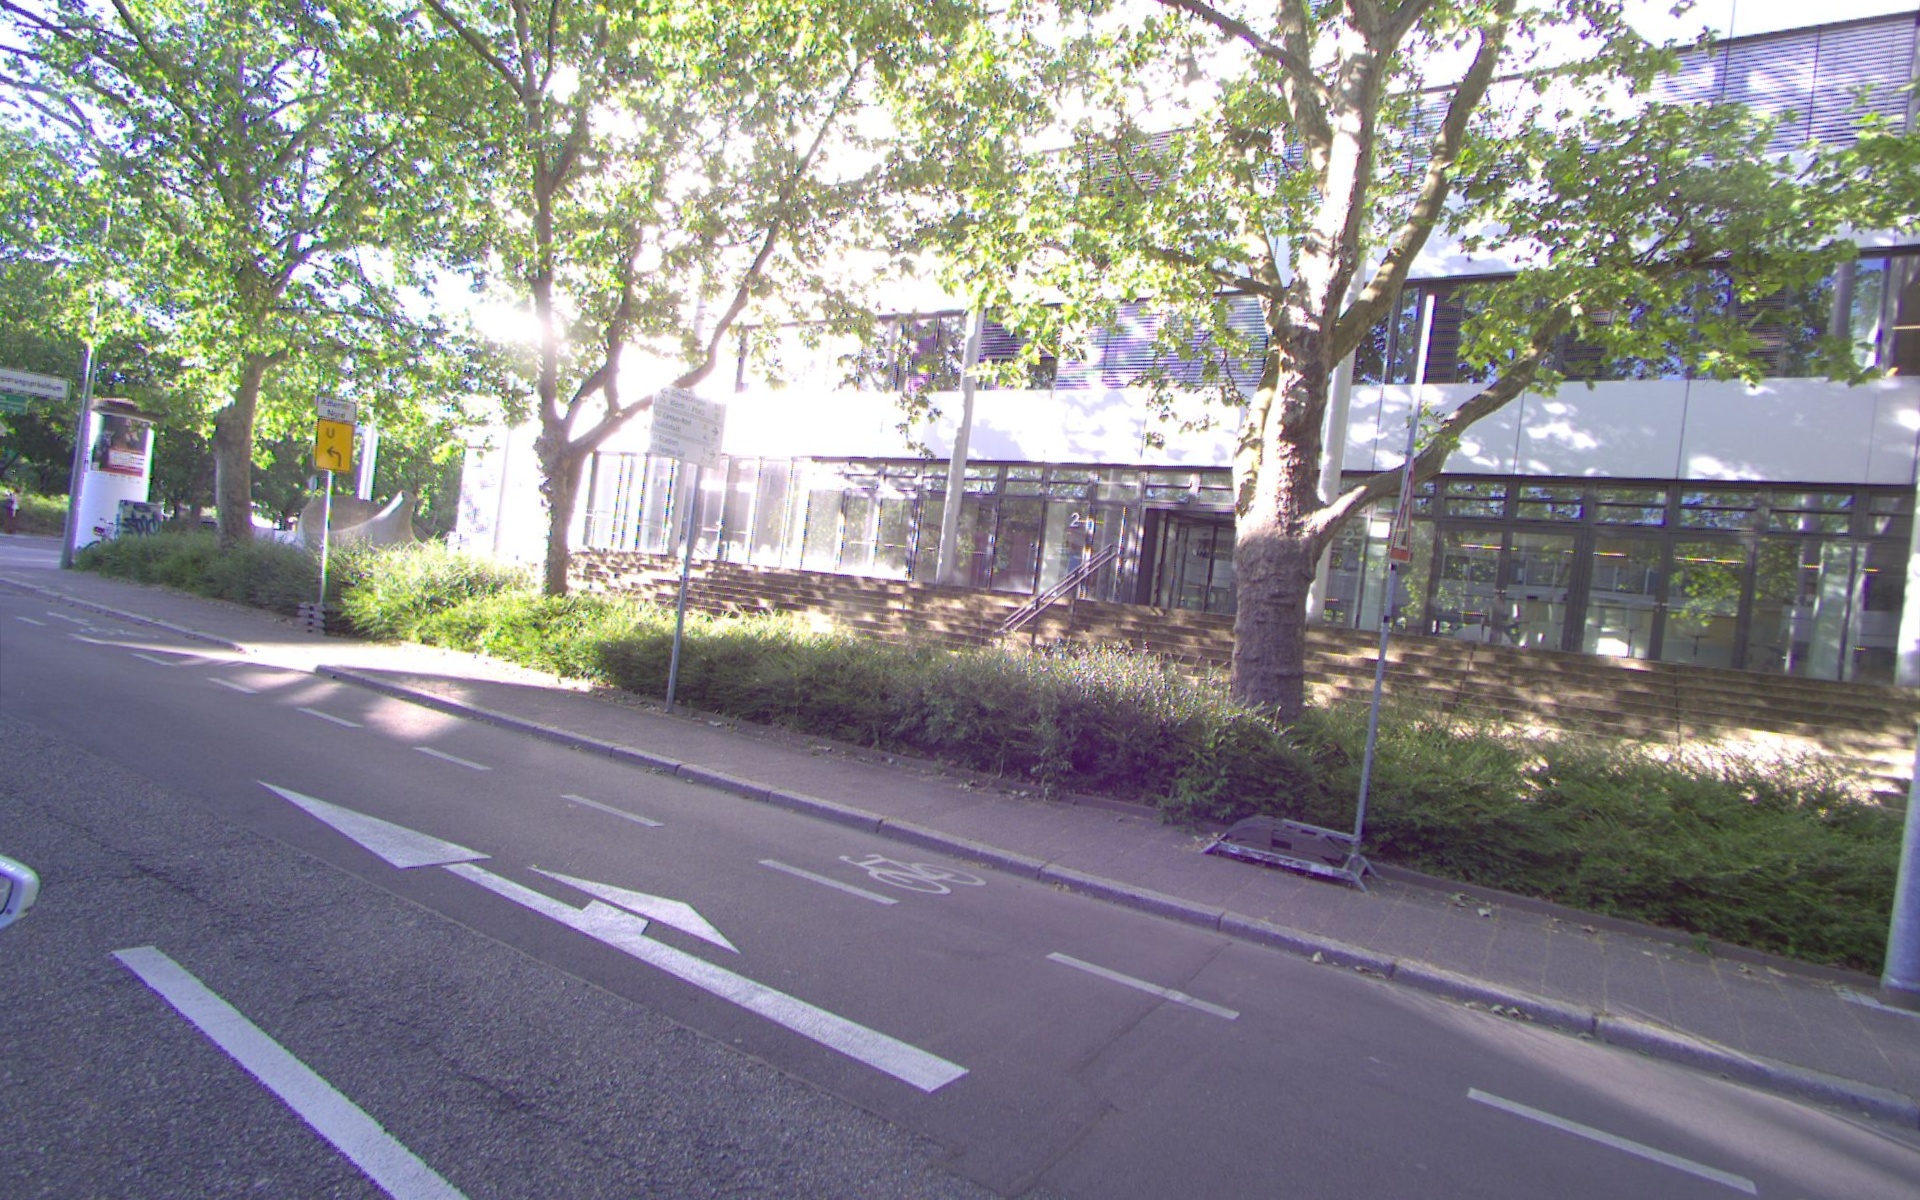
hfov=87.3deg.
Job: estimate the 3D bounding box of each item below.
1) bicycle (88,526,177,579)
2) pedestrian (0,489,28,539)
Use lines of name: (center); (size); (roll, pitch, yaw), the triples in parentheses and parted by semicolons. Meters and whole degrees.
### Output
bicycle: (-19.042, -1.073, 23.177); (0.295, 0.991, 1.484); (6, -2, 37)
pedestrian: (-36.250, -3.285, 38.421); (0.672, 1.793, 0.613); (8, -1, -29)
